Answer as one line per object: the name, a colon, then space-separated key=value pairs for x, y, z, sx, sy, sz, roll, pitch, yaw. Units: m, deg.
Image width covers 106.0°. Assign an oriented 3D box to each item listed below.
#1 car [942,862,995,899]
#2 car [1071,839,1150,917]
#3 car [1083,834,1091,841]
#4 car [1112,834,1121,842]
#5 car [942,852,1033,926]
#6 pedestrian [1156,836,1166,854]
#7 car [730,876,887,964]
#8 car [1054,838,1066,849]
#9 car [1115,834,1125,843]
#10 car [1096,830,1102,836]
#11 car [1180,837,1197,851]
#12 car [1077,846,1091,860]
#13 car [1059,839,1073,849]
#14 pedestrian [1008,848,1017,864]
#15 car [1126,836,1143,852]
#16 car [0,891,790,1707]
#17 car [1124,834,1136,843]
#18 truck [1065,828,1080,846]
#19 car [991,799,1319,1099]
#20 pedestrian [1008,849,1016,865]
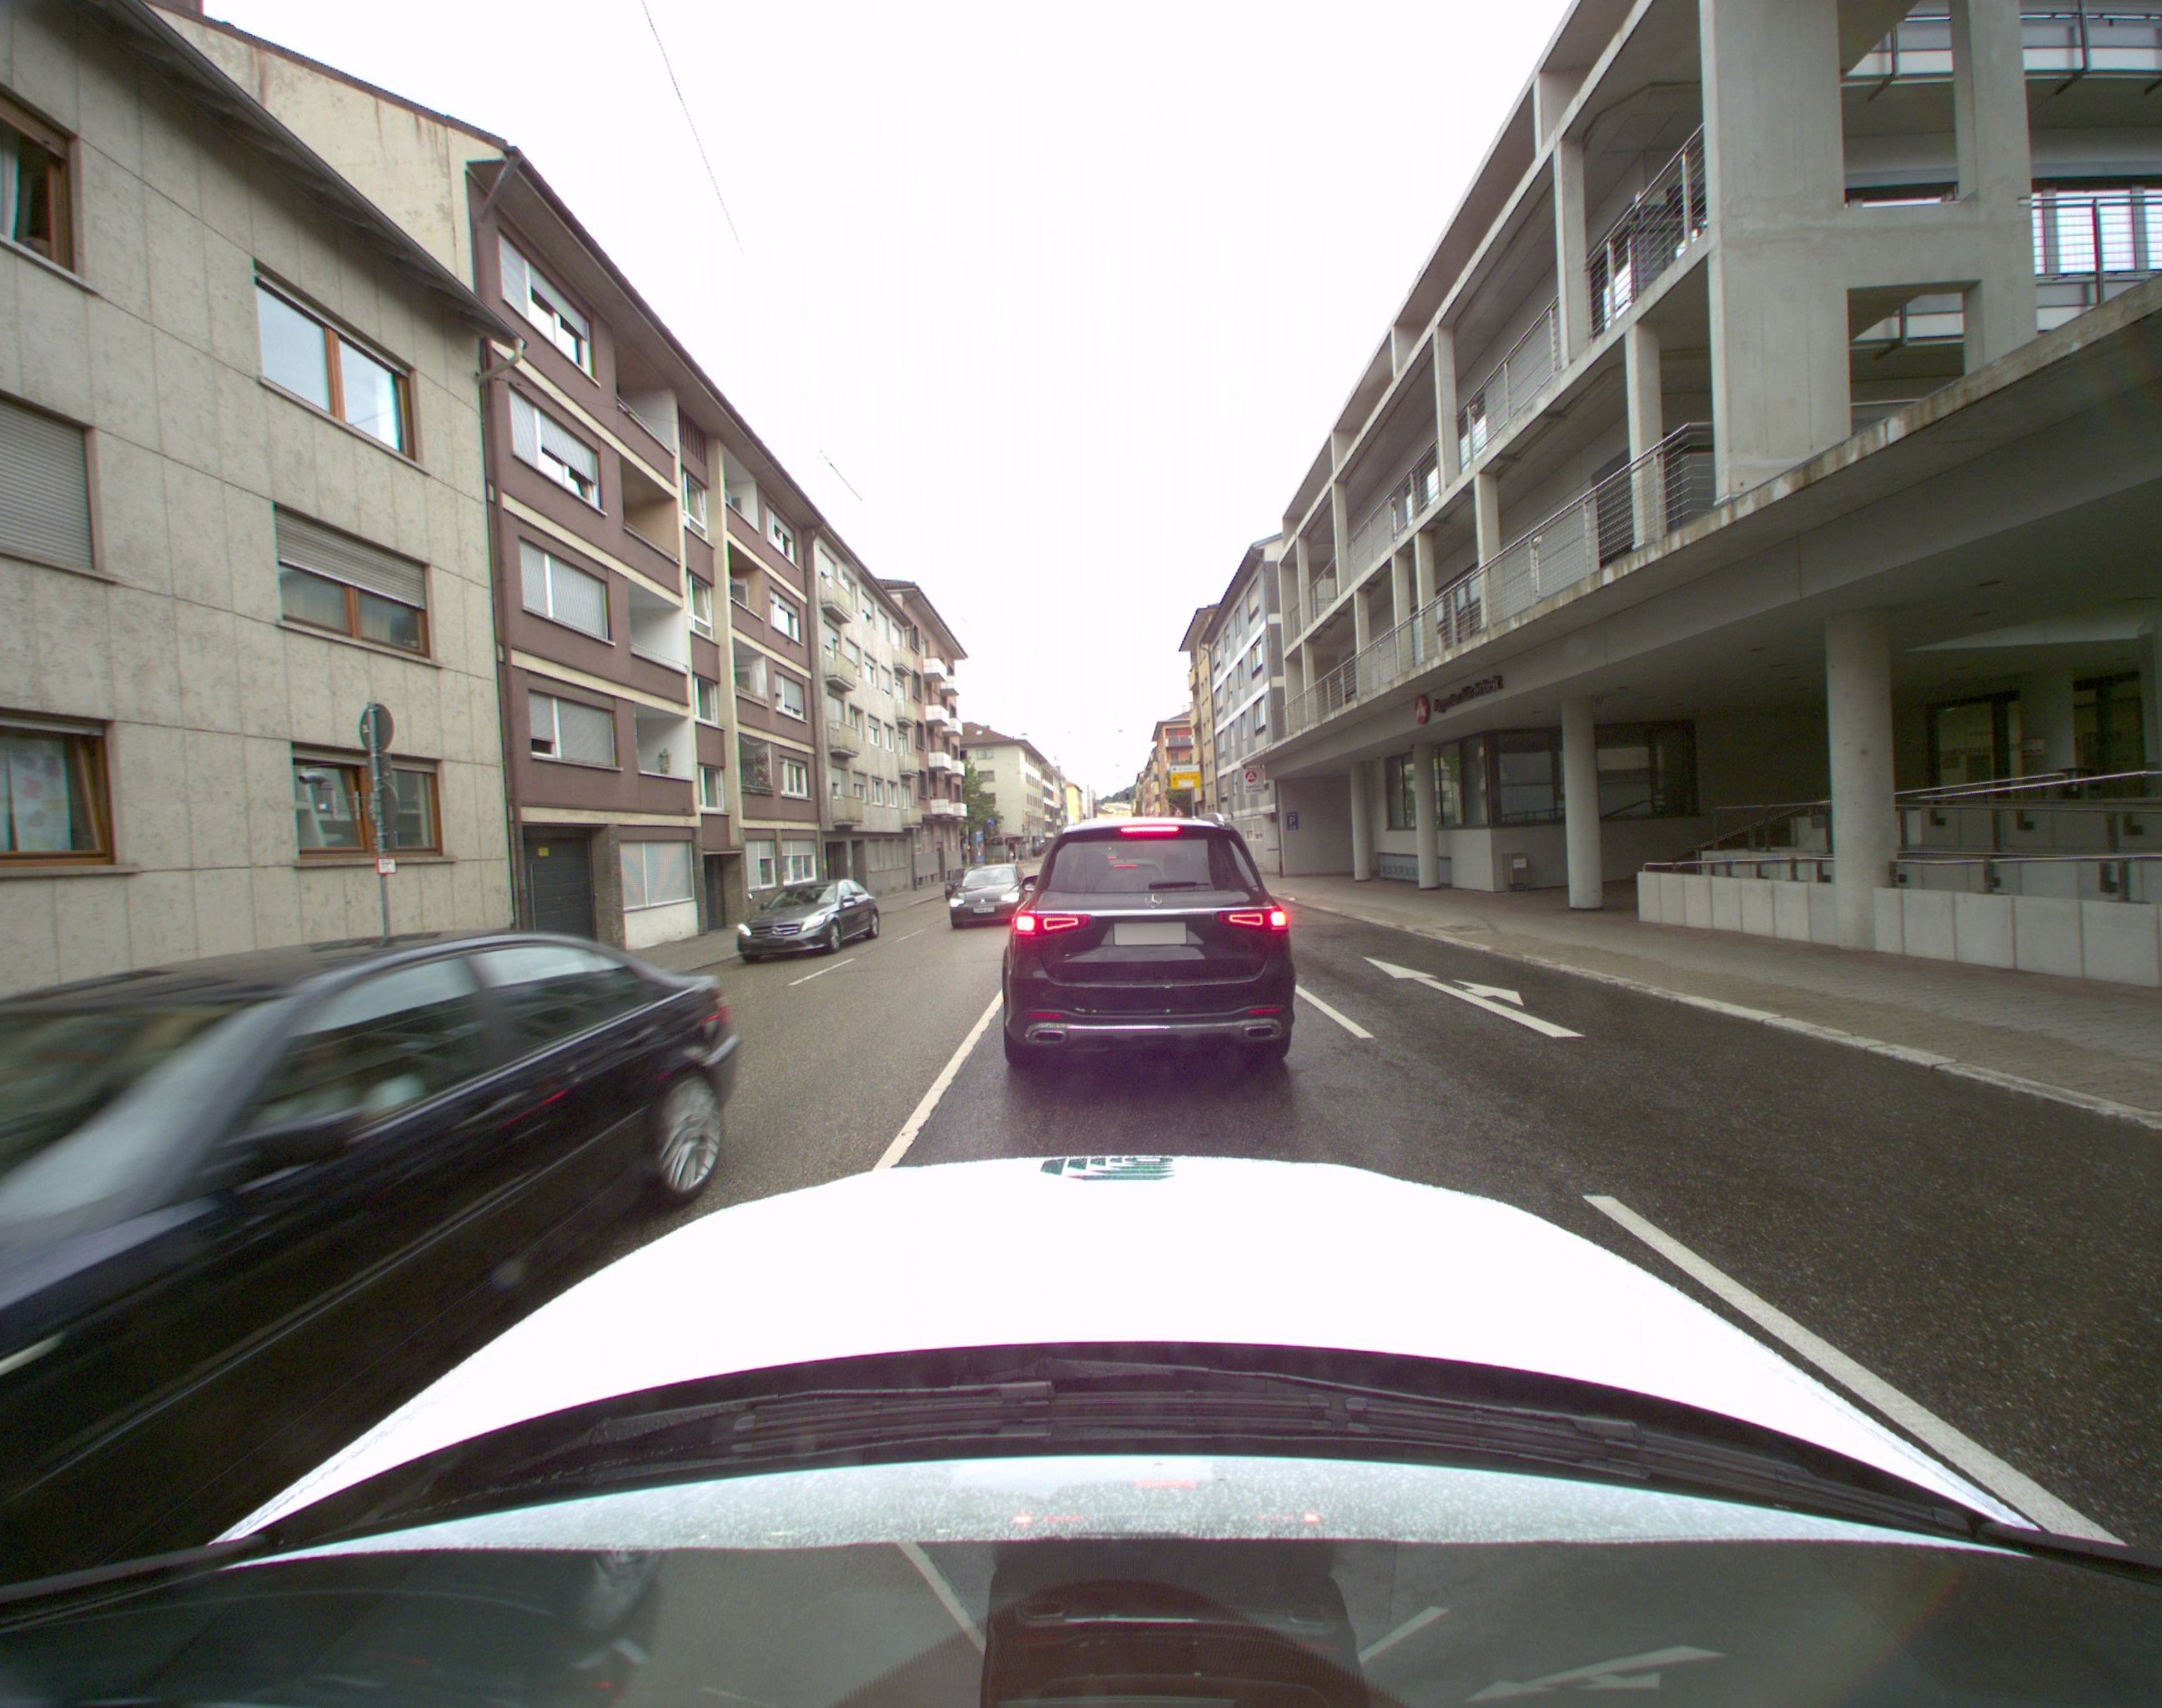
car: x=-4.933 y=1.147 z=36.232 sx=1.593 sy=1.370 sz=4.362 roll=-6 pitch=0 yaw=1
car: x=0.671 y=0.581 z=20.954 sx=1.746 sy=1.731 sz=4.216 roll=-3 pitch=-1 yaw=0
car: x=1.451 y=-3.938 z=193.966 sx=1.613 sy=1.539 sz=4.216 roll=-4 pitch=-1 yaw=0
car: x=7.817 y=-3.571 z=177.800 sx=1.613 sy=1.539 sz=4.216 roll=-4 pitch=-1 yaw=0
car: x=-2.304 y=0.856 z=21.094 sx=1.689 sy=1.580 sz=4.218 roll=-5 pitch=-1 yaw=1
pedestrian: x=9.377 y=-1.056 z=95.465 sx=0.920 sy=2.013 sz=0.706 roll=-3 pitch=0 yaw=0
car: x=-5.503 y=1.265 z=17.102 sx=1.689 sy=1.370 sz=4.366 roll=-5 pitch=-1 yaw=0
car: x=-3.387 y=-1.701 z=131.943 sx=1.613 sy=1.539 sz=4.216 roll=-4 pitch=-1 yaw=0
car: x=7.107 y=-2.845 z=149.012 sx=1.613 sy=1.539 sz=4.216 roll=-4 pitch=-1 yaw=0
car: x=5.545 y=-6.355 z=250.464 sx=1.613 sy=1.539 sz=4.216 roll=-4 pitch=-1 yaw=0
car: x=12.469 y=-1.160 z=94.396 sx=1.664 sy=1.588 sz=3.334 roll=-3 pitch=0 yaw=4
car: x=0.384 y=-0.133 z=101.426 sx=1.613 sy=1.539 sz=4.216 roll=-4 pitch=-1 yaw=0
car: x=-2.093 y=-1.441 z=116.609 sx=1.879 sy=1.264 sz=4.216 roll=-5 pitch=-1 yaw=0
pedestrian: x=-8.648 y=0.260 z=102.532 sx=0.920 sy=1.902 sz=0.706 roll=-3 pitch=0 yaw=0
car: x=6.631 y=-1.265 z=101.935 sx=1.718 sy=1.759 sz=4.216 roll=-4 pitch=-1 yaw=0
car: x=-2.708 y=0.951 z=2.740 sx=1.688 sy=1.370 sz=4.220 roll=-5 pitch=-1 yaw=2
car: x=8.308 y=-2.617 z=137.777 sx=1.613 sy=1.387 sz=4.216 roll=-4 pitch=-1 yaw=0
truck: x=-1.601 y=-3.164 z=157.367 sx=2.472 sy=3.046 sz=9.917 roll=-4 pitch=-1 yaw=0
car: x=0.515 y=0.595 z=7.132 sx=1.977 sy=1.805 sz=4.391 roll=0 pitch=-1 yaw=2
pedestrian: x=-7.921 y=0.332 z=93.360 sx=0.630 sy=1.764 sz=0.777 roll=-3 pitch=0 yaw=18
